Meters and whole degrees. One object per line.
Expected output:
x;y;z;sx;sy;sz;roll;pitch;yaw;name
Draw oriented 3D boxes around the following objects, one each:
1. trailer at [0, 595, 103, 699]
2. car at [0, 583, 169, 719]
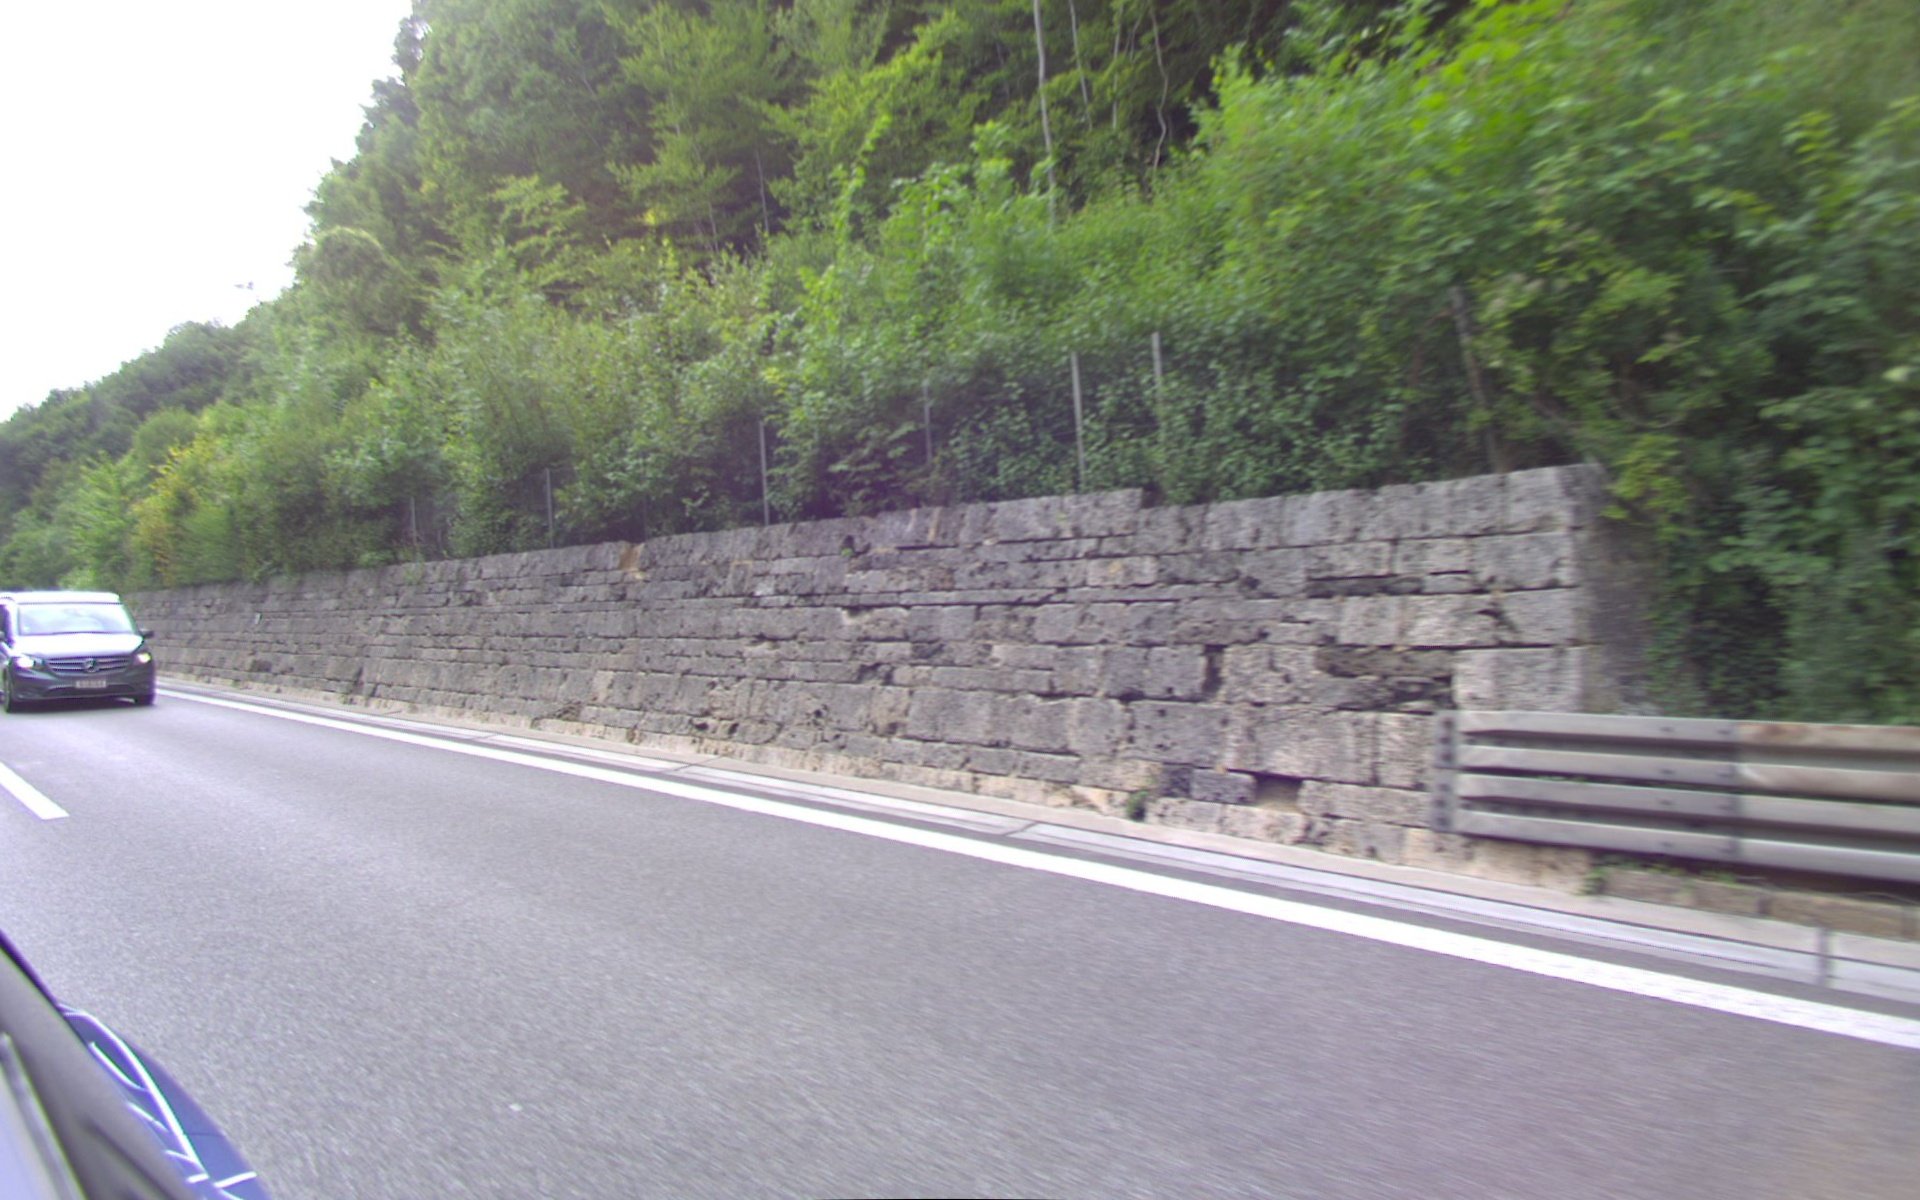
-19.125;0.927;20.687;3.429;1.954;1.950;-2;0;41;trailer
-15.760;0.820;17.746;5.537;2.029;1.973;-2;0;41;car
